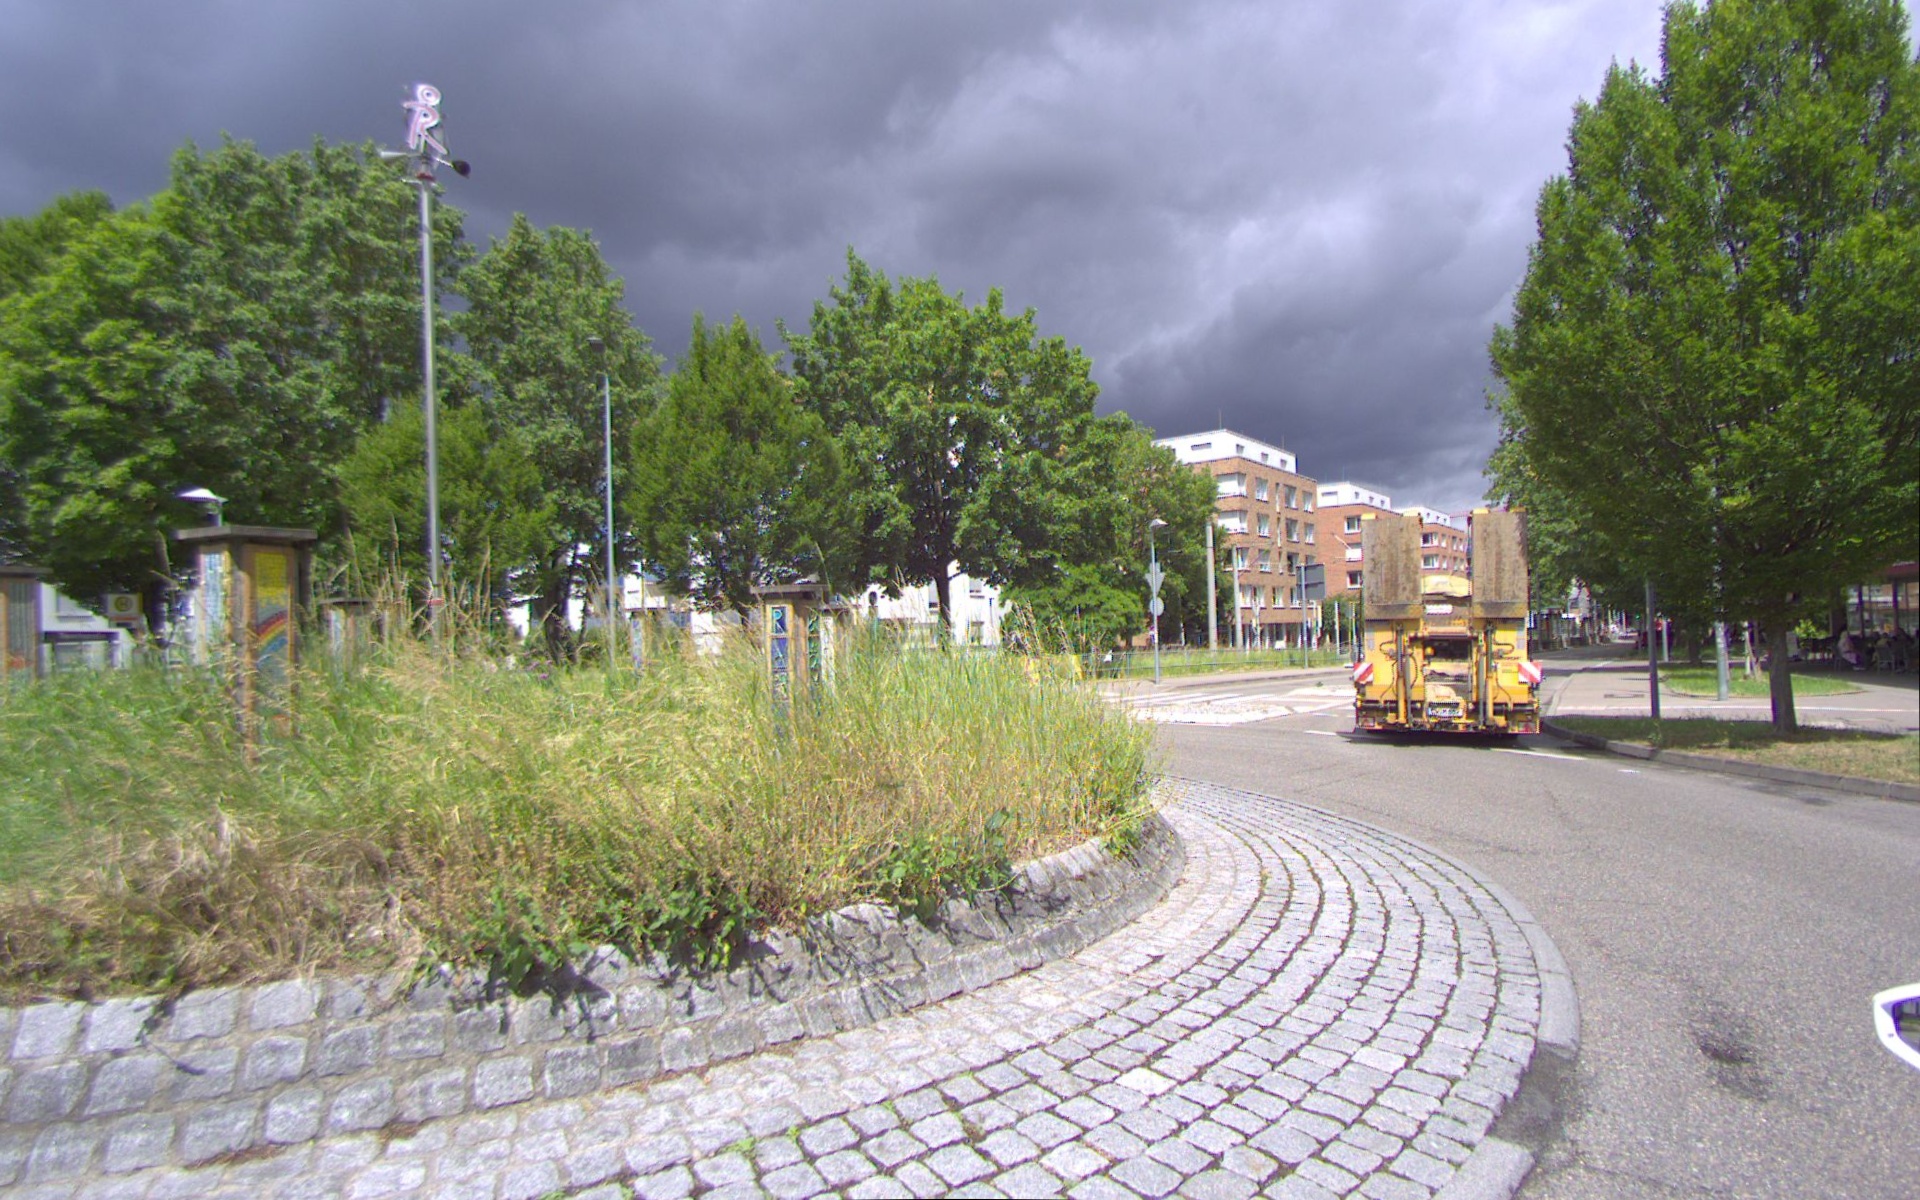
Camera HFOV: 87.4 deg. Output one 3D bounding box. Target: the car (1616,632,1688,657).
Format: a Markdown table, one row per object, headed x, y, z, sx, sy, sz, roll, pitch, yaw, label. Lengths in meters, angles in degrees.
| x | y | z | sx | sy | sz | roll | pitch | yaw | label |
| --- | --- | --- | --- | --- | --- | --- | --- | --- | --- |
| 47.889 | 3.079 | 69.546 | 3.939 | 1.532 | 1.991 | -2 | 0 | 39 | car |

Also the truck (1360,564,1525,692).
| x | y | z | sx | sy | sz | roll | pitch | yaw | label |
| --- | --- | --- | --- | --- | --- | --- | --- | --- | --- |
| 13.910 | 0.745 | 28.485 | 2.948 | 3.075 | 8.460 | -2 | -1 | 34 | truck |

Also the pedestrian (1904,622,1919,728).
| x | y | z | sx | sy | sz | roll | pitch | yaw | label |
| --- | --- | --- | --- | --- | --- | --- | --- | --- | --- |
| 14.437 | 1.083 | 14.577 | 0.860 | 1.539 | 0.801 | -4 | -2 | 33 | pedestrian |

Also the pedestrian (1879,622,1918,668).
| x | y | z | sx | sy | sz | roll | pitch | yaw | label |
| --- | --- | --- | --- | --- | --- | --- | --- | --- | --- |
| 29.616 | 1.420 | 31.695 | 0.708 | 1.398 | 0.697 | -4 | -3 | 33 | pedestrian |

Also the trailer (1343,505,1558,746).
| x | y | z | sx | sy | sz | roll | pitch | yaw | label |
| --- | --- | --- | --- | --- | --- | --- | --- | --- | --- |
| 9.421 | 0.527 | 19.810 | 2.819 | 3.417 | 10.834 | -1 | -2 | 24 | trailer |

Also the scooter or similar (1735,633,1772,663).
| x | y | z | sx | sy | sz | roll | pitch | yaw | label |
| --- | --- | --- | --- | --- | --- | --- | --- | --- | --- |
| 35.287 | 2.120 | 44.673 | 1.707 | 1.242 | 0.516 | -2 | -2 | -25 | scooter or similar |

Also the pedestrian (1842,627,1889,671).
| x | y | z | sx | sy | sz | roll | pitch | yaw | label |
| --- | --- | --- | --- | --- | --- | --- | --- | --- | --- |
| 28.846 | 1.564 | 32.026 | 0.864 | 1.342 | 0.822 | -3 | 0 | 26 | pedestrian |

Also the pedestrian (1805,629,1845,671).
| x | y | z | sx | sy | sz | roll | pitch | yaw | label |
| --- | --- | --- | --- | --- | --- | --- | --- | --- | --- |
| 28.591 | 1.653 | 33.206 | 0.866 | 1.342 | 0.609 | -4 | -3 | 35 | pedestrian |

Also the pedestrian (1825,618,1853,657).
| x | y | z | sx | sy | sz | roll | pitch | yaw | label |
| --- | --- | --- | --- | --- | --- | --- | --- | --- | --- |
| 35.225 | 1.503 | 40.258 | 0.687 | 1.508 | 0.556 | -3 | -3 | 30 | pedestrian |

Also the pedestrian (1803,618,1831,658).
| x | y | z | sx | sy | sz | roll | pitch | yaw | label |
| --- | --- | --- | --- | --- | --- | --- | --- | --- | --- |
| 35.019 | 1.546 | 41.036 | 0.687 | 1.593 | 0.556 | -3 | -3 | 30 | pedestrian |

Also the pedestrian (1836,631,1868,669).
| x | y | z | sx | sy | sz | roll | pitch | yaw | label |
| --- | --- | --- | --- | --- | --- | --- | --- | --- | --- |
| 29.681 | 1.669 | 33.420 | 0.709 | 1.216 | 0.695 | -4 | -4 | 40 | pedestrian |

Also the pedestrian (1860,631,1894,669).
| x | y | z | sx | sy | sz | roll | pitch | yaw | label |
| --- | --- | --- | --- | --- | --- | --- | --- | --- | --- |
| 30.078 | 1.640 | 32.954 | 0.709 | 1.216 | 0.695 | -4 | -4 | 40 | pedestrian |
